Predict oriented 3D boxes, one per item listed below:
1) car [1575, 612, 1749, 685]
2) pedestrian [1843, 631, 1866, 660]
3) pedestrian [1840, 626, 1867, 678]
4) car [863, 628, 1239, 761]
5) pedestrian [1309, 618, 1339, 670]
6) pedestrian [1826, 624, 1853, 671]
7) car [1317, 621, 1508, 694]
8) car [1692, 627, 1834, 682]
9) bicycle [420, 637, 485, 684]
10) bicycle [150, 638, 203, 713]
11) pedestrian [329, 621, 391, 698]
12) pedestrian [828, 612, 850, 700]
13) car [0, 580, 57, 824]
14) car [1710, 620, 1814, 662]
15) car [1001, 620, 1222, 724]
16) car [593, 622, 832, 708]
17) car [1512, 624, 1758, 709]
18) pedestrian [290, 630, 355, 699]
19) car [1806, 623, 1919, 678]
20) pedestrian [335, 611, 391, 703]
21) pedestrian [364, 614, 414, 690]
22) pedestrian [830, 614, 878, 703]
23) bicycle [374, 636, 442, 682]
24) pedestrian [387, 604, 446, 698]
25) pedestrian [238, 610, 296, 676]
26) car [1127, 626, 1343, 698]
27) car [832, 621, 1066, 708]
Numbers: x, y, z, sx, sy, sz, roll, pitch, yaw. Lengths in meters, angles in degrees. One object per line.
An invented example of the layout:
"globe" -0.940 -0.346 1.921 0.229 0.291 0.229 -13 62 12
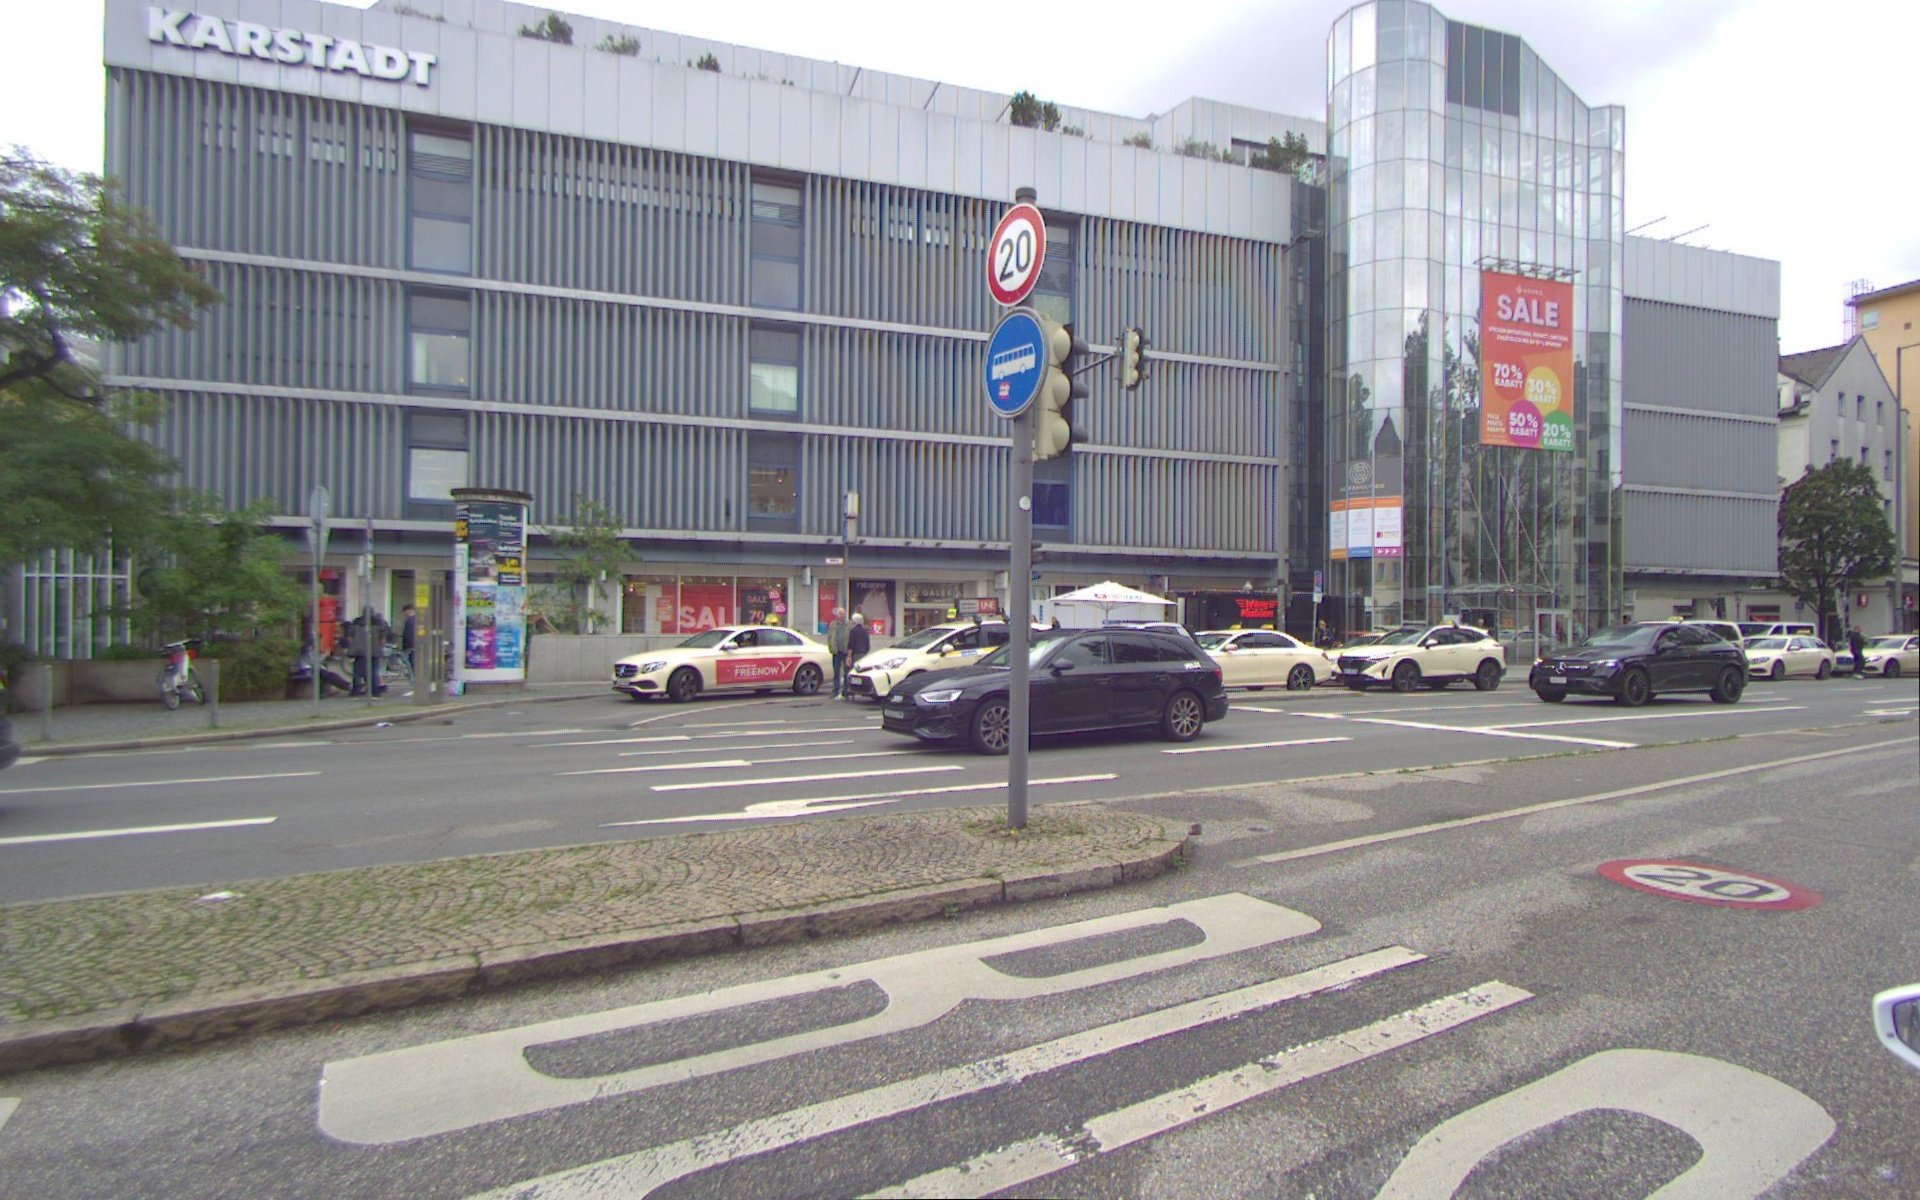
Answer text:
"car" 21.303 1.420 30.434 5.451 2.040 1.986 1 -1 -27
"pedestrian" 41.746 2.112 46.879 0.618 1.307 0.557 0 -1 -20
"pedestrian" 29.839 1.730 33.550 0.616 1.720 0.692 -1 -1 40
"car" 1.223 1.066 12.673 4.547 1.401 1.836 1 -1 -31
"pedestrian" 12.322 1.481 34.029 0.700 1.714 0.651 1 -1 -18
"pedestrian" 34.529 1.856 39.433 0.618 1.841 0.557 1 -1 -20
"car" 11.268 1.389 25.066 4.117 1.701 1.992 1 -1 -18
"car" 26.404 1.738 33.028 4.474 1.677 1.986 1 -1 -27
"bicycle" -13.646 1.592 27.146 0.791 1.114 3.672 0 -1 -14
"bicycle" -12.850 1.210 16.498 0.368 1.126 1.568 1 -1 -26
"pedestrian" -11.997 1.170 20.081 0.737 1.513 0.772 0 -1 25
"pedestrian" -2.475 1.140 20.614 0.348 1.783 0.447 0 -1 5
"car" -9.039 0.713 6.400 4.534 1.761 1.927 1 -2 -30
"car" 36.103 1.814 45.211 4.180 1.795 1.866 1 -1 -22
"car" 2.514 1.120 16.679 3.340 1.572 1.619 1 -1 -27
"car" -4.948 1.226 20.501 1.972 1.556 4.389 -1 -2 43
"car" 13.646 1.276 20.315 4.521 1.554 1.990 1 -1 -23
"pedestrian" -12.437 1.244 19.634 1.032 1.292 0.542 1 -1 -30
"car" 32.235 1.718 35.060 4.457 1.840 1.994 1 -1 -15
"pedestrian" -11.076 1.040 18.668 0.740 1.676 0.769 0 -1 -20
"pedestrian" -12.124 1.087 21.323 0.762 1.575 0.747 -1 -1 44
"pedestrian" -2.100 1.136 19.883 0.741 1.713 0.768 1 -1 -26
"bicycle" -14.840 1.548 27.124 0.774 1.114 3.431 0 -1 -14
"pedestrian" -10.682 0.987 19.745 0.739 1.796 0.770 0 -1 36
"pedestrian" -17.144 1.060 24.872 0.962 1.602 0.796 1 -1 -20
"car" 6.349 1.369 23.232 4.567 1.528 1.990 1 -1 -22
"car" -0.192 1.214 20.085 4.341 1.563 1.892 1 -1 -31
